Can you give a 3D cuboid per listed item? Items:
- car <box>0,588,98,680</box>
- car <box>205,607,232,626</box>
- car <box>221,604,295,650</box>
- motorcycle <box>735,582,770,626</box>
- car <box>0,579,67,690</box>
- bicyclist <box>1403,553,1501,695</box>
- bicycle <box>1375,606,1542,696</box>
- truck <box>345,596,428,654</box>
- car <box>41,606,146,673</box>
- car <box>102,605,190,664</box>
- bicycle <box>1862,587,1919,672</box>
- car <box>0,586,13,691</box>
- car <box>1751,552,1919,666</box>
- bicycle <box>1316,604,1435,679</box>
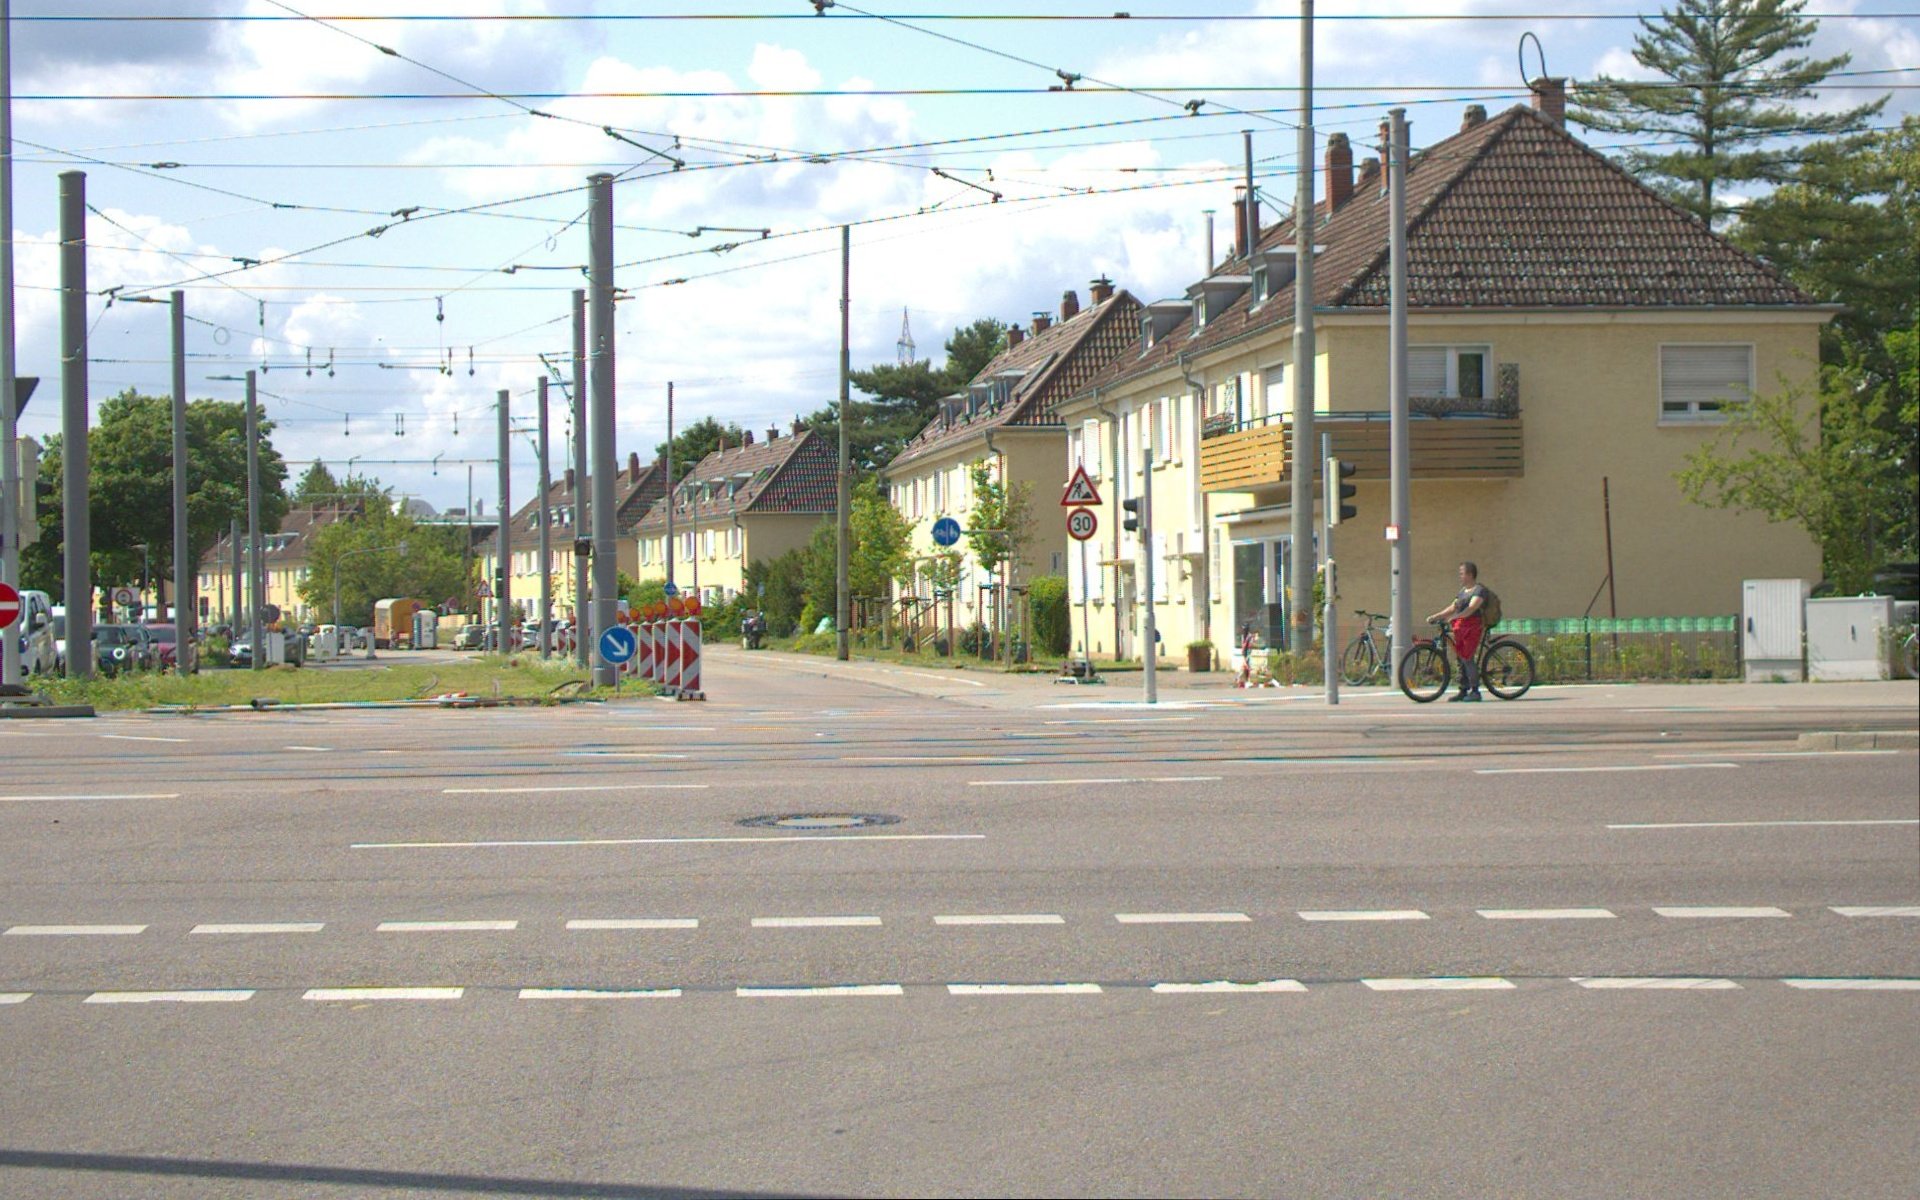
[{"bbox_3d":[-18.571,0.687,69.685,1.732,1.776,4.406,-1,0,-9],"label":"car"},{"bbox_3d":[-55.143,1.245,255.535,1.257,1.346,2.665,-1,0,-28],"label":"car"},{"bbox_3d":[-24.978,0.945,122.469,1.819,1.546,4.000,-1,1,0],"label":"car"},{"bbox_3d":[-7.759,0.158,128.289,1.066,1.630,2.084,-1,0,-9],"label":"motorcycle"},{"bbox_3d":[-17.224,0.609,61.834,1.814,1.915,4.749,-1,0,-9],"label":"car"},{"bbox_3d":[6.244,0.304,43.623,0.957,1.769,0.719,-1,0,-27],"label":"bicyclist"},{"bbox_3d":[6.338,0.641,43.677,2.027,1.098,0.715,-1,0,-26],"label":"bicycle"},{"bbox_3d":[-35.607,1.555,213.121,2.640,3.482,9.439,-1,0,-25],"label":"truck"},{"bbox_3d":[-19.273,0.870,76.623,1.914,1.414,4.001,-1,0,-9],"label":"car"},{"bbox_3d":[-21.694,0.905,91.769,1.843,1.489,4.857,-1,0,-8],"label":"car"},{"bbox_3d":[12.797,0.374,44.941,1.806,1.101,0.701,-1,0,38],"label":"bicycle"},{"bbox_3d":[-16.514,0.662,55.427,1.786,1.715,4.442,-1,1,-8],"label":"car"},{"bbox_3d":[13.610,0.152,51.735,1.821,1.615,4.001,-1,-1,-11],"label":"car"},{"bbox_3d":[6.205,0.627,51.526,0.593,1.093,2.277,-1,0,-27],"label":"bicycle"}]
